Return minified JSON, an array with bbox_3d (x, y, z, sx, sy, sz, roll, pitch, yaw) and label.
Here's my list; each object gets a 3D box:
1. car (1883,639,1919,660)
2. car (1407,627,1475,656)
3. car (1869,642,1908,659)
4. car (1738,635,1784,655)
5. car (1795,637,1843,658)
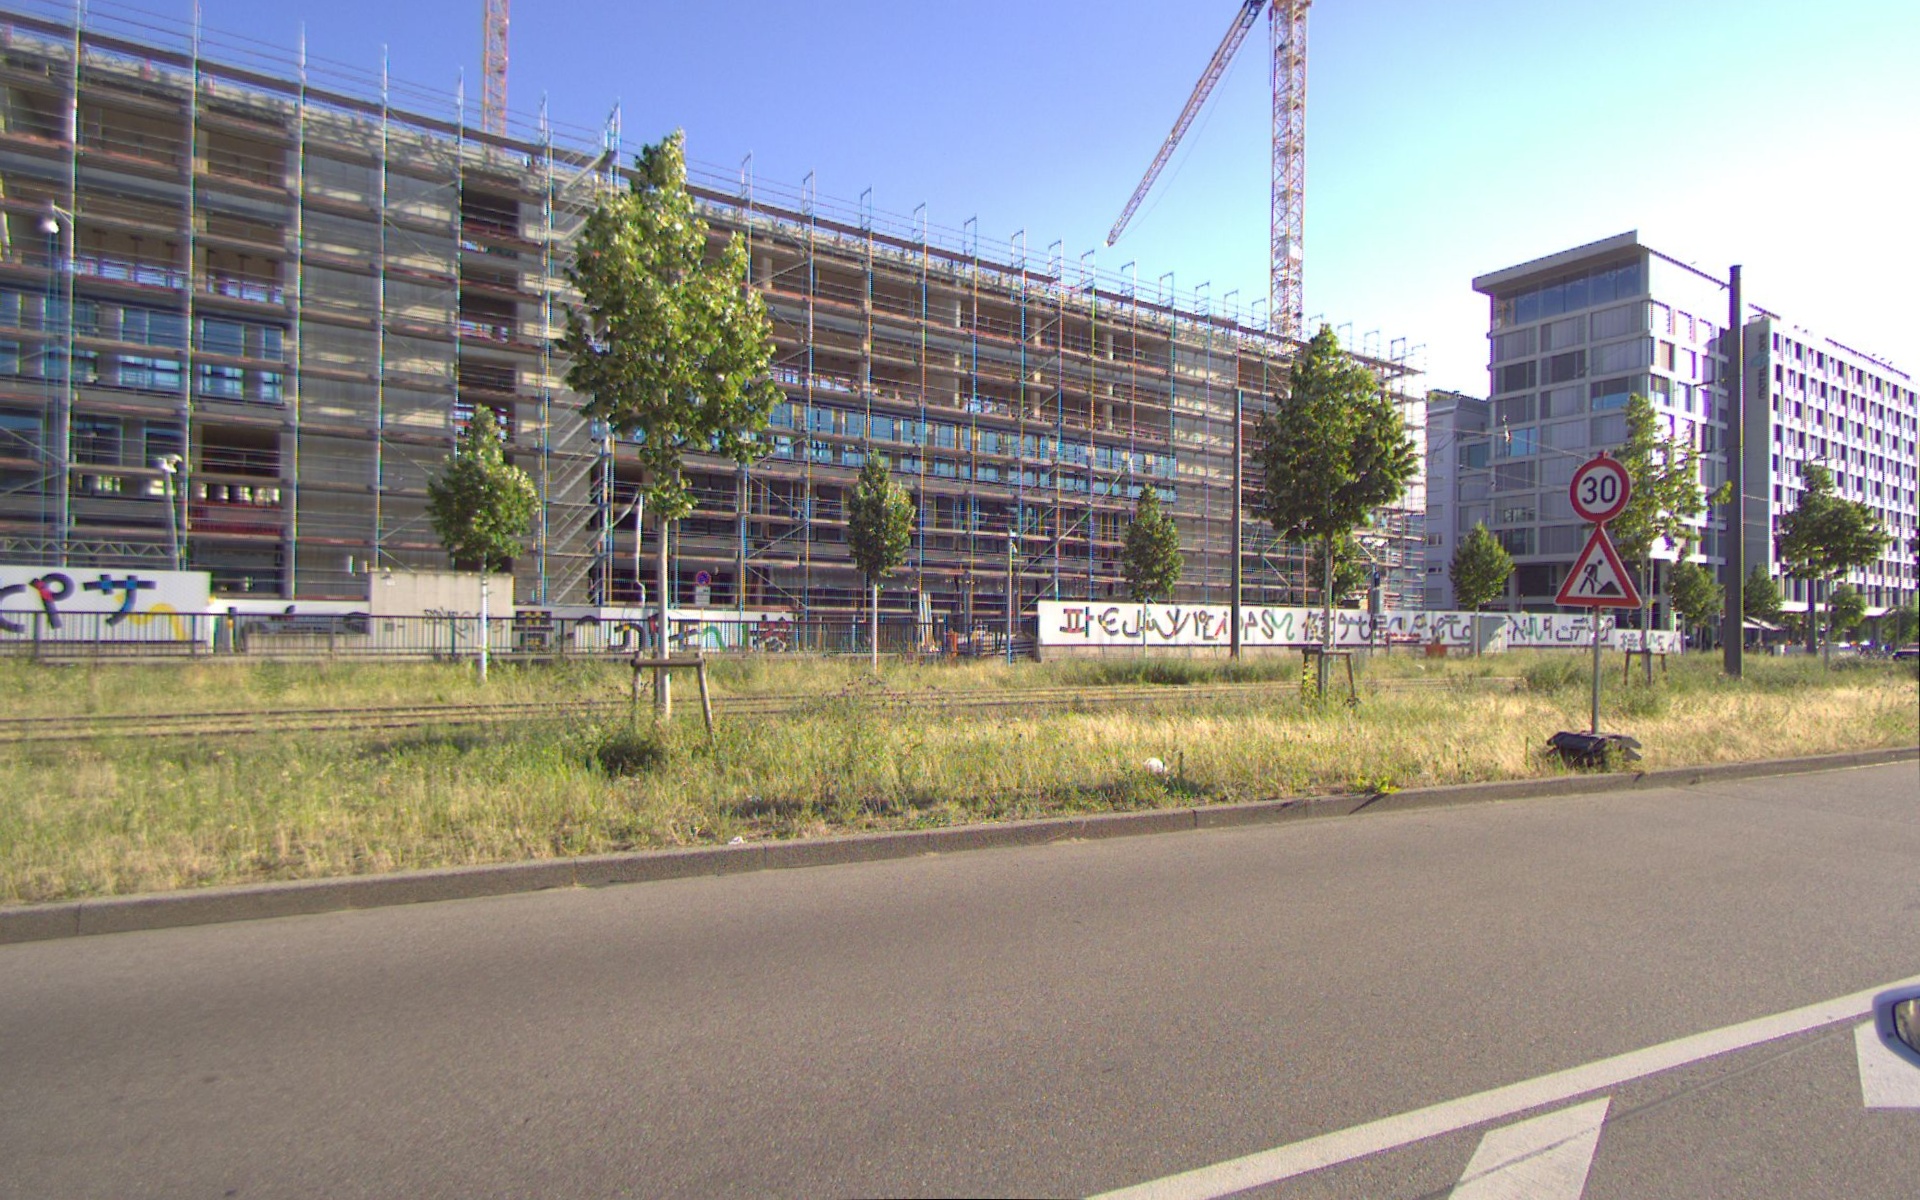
[{"bbox_3d":[70.631,3.709,74.993,3.543,1.461,1.699,2,0,-32],"label":"car"},{"bbox_3d":[26.076,2.269,54.423,3.543,1.461,1.699,2,0,-32],"label":"car"},{"bbox_3d":[84.013,4.581,90.882,3.543,1.461,1.699,2,0,-32],"label":"car"},{"bbox_3d":[61.401,3.444,76.955,3.543,1.461,1.699,2,0,-32],"label":"car"},{"bbox_3d":[62.747,3.465,73.338,3.543,1.461,1.699,2,0,-32],"label":"car"}]
